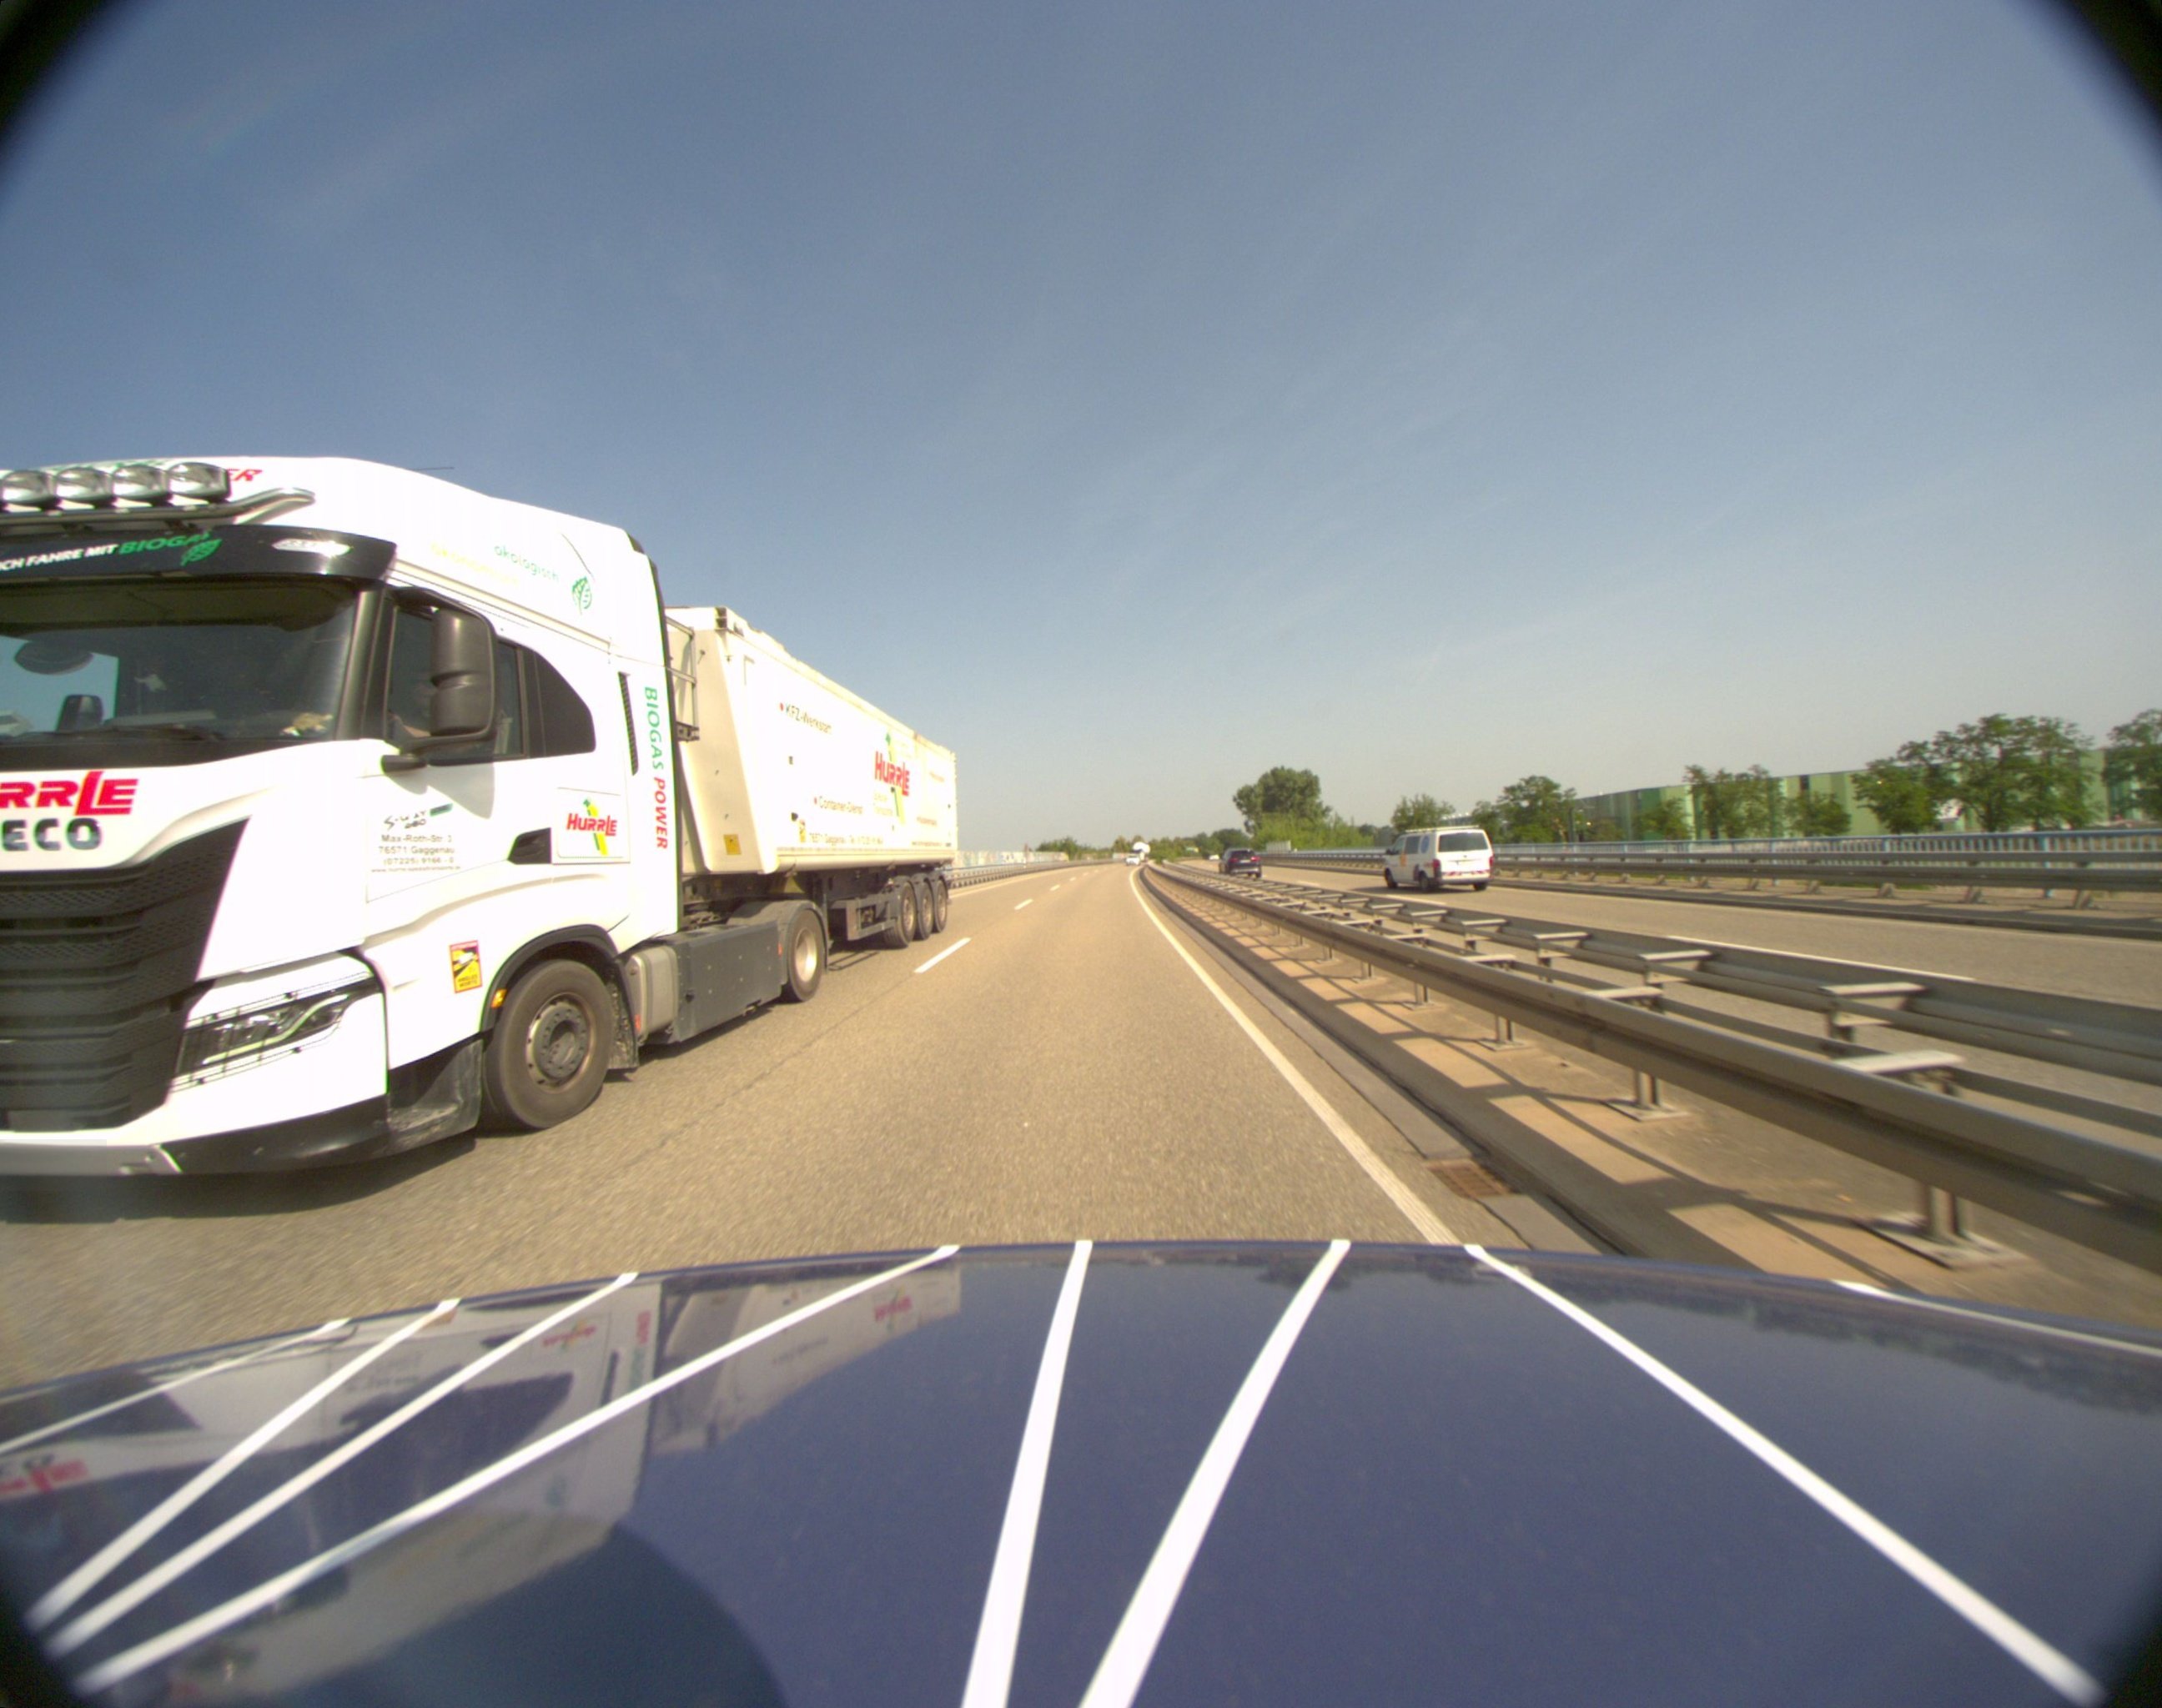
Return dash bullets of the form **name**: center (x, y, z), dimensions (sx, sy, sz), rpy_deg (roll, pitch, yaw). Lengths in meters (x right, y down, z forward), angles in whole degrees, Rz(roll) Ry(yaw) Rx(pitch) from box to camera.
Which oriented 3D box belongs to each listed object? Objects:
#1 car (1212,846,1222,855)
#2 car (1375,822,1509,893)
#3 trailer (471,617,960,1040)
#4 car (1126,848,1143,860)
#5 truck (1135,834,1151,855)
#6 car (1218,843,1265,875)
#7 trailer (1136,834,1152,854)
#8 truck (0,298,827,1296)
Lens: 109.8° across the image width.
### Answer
- **car**: center (26.188, -0.666, 146.396), dimensions (1.651, 1.493, 4.002), rpy_deg (-3, 0, 8)
- **car**: center (11.716, 0.079, 25.139), dimensions (2.043, 1.995, 5.308), rpy_deg (-3, 1, 3)
- **trailer**: center (-4.218, -0.277, 12.011), dimensions (2.686, 3.884, 9.672), rpy_deg (-2, 1, 1)
- **car**: center (7.199, 0.020, 102.328), dimensions (1.788, 1.427, 4.002), rpy_deg (-3, 0, 9)
- **truck**: center (12.319, -1.939, 150.091), dimensions (2.777, 3.939, 5.630), rpy_deg (-2, 1, 8)
- **car**: center (8.948, 0.275, 42.687), dimensions (1.869, 1.598, 4.419), rpy_deg (-3, 0, 3)
- **trailer**: center (13.002, -2.058, 155.464), dimensions (2.762, 3.968, 8.190), rpy_deg (-2, 0, 8)
- **truck**: center (-4.376, -0.196, 5.826), dimensions (2.665, 3.874, 5.647), rpy_deg (-2, 1, 2)
